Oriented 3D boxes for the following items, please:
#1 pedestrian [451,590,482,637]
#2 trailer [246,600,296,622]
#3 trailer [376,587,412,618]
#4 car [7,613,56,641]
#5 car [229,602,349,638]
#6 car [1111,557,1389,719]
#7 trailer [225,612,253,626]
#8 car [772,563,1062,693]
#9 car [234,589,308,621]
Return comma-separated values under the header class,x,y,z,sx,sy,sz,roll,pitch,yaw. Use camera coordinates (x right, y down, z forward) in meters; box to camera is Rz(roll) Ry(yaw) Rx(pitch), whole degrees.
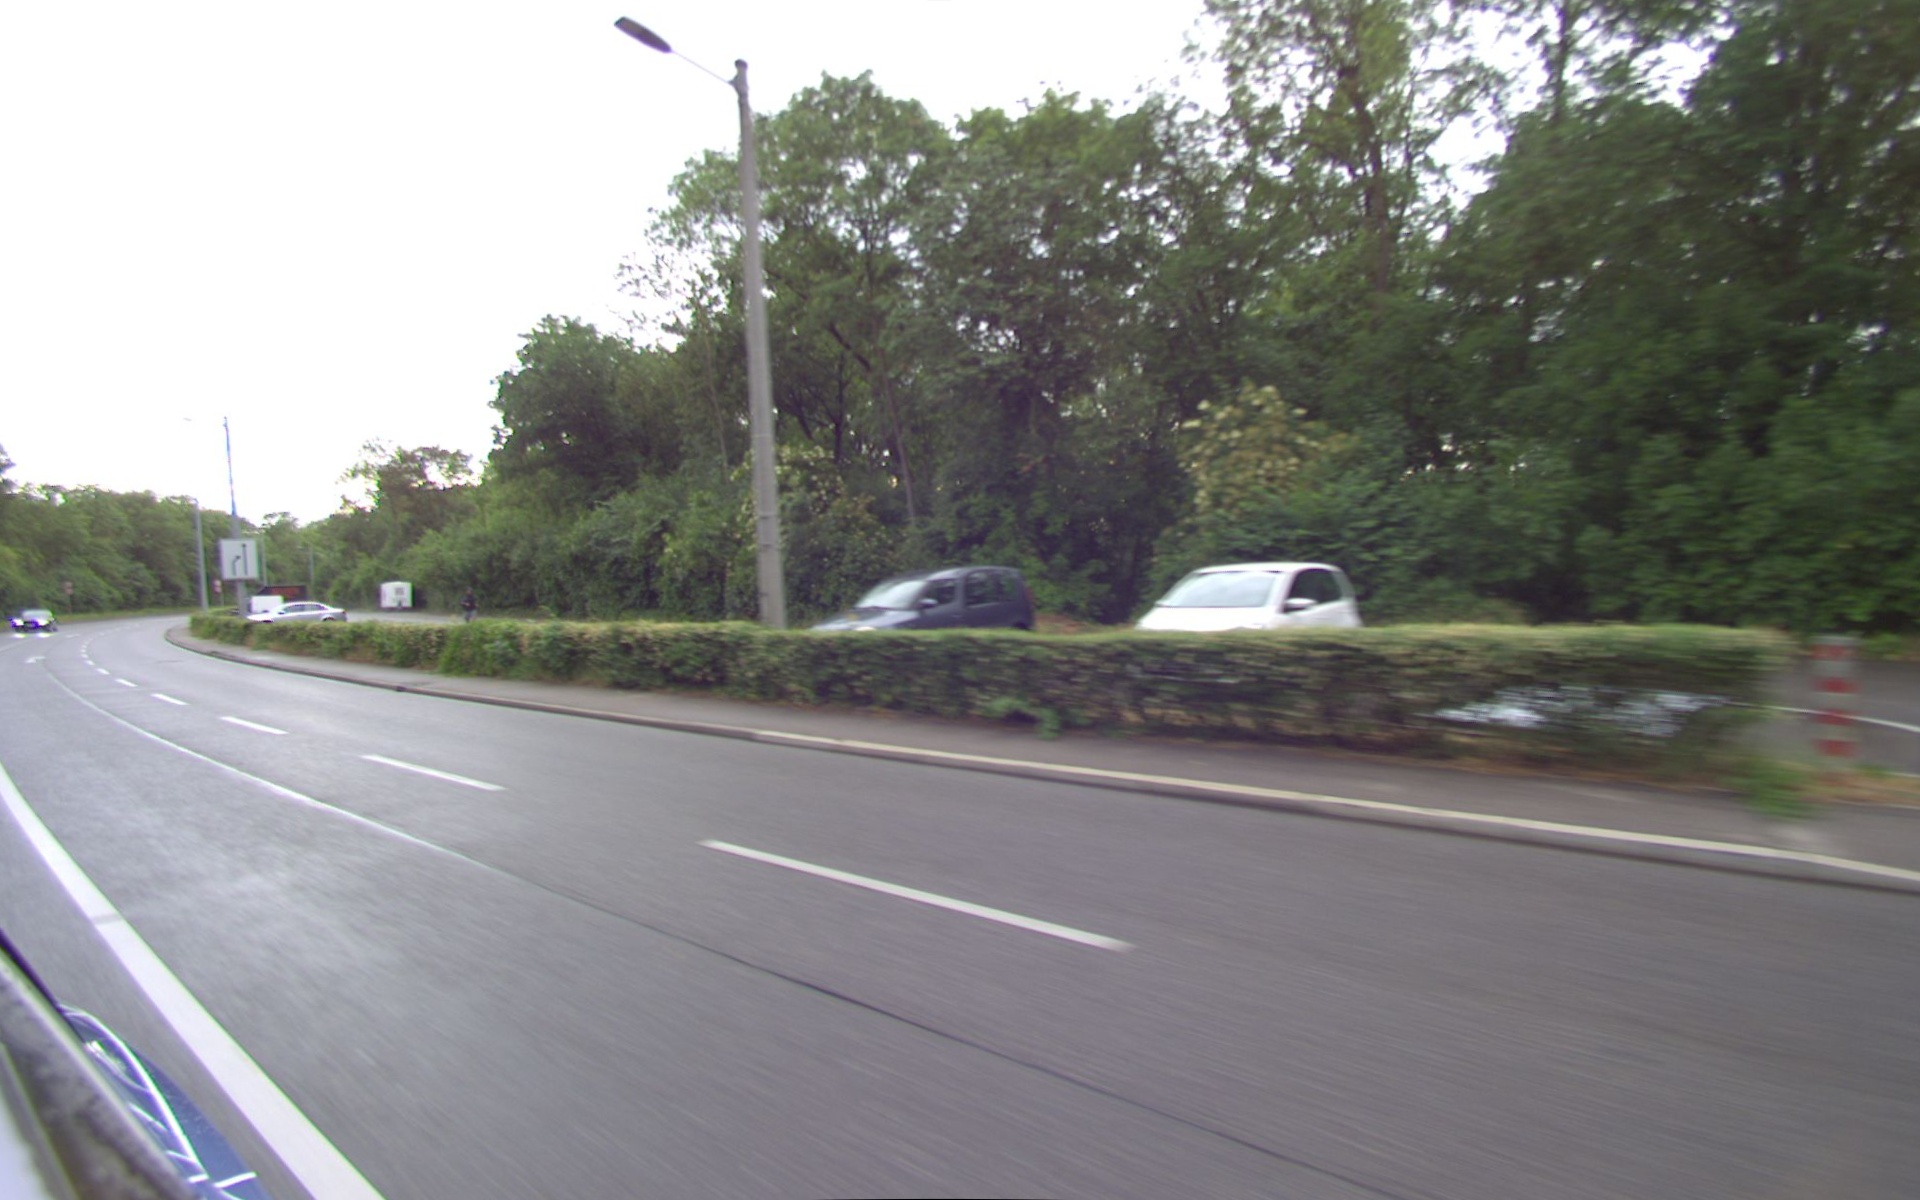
class,x,y,z,sx,sy,sz,roll,pitch,yaw
pedestrian,-19.292,0.523,39.553,0.807,1.811,1.137,-2,1,-41
trailer,-68.324,1.070,100.400,3.932,2.068,1.878,-1,1,-31
trailer,-56.674,0.230,101.243,2.442,2.895,7.998,-1,1,-34
car,-61.222,1.774,66.784,1.967,1.696,4.009,-1,1,-37
car,-32.674,0.950,49.387,2.000,1.517,4.525,-1,1,44
car,3.547,0.329,12.002,1.850,1.603,3.608,-1,1,40
trailer,-58.473,1.550,82.115,1.778,1.042,1.337,-2,1,-38
car,-0.567,0.340,15.887,4.240,1.721,2.002,-3,1,-43
car,-71.367,0.469,104.937,6.188,3.136,2.759,-2,2,-34
